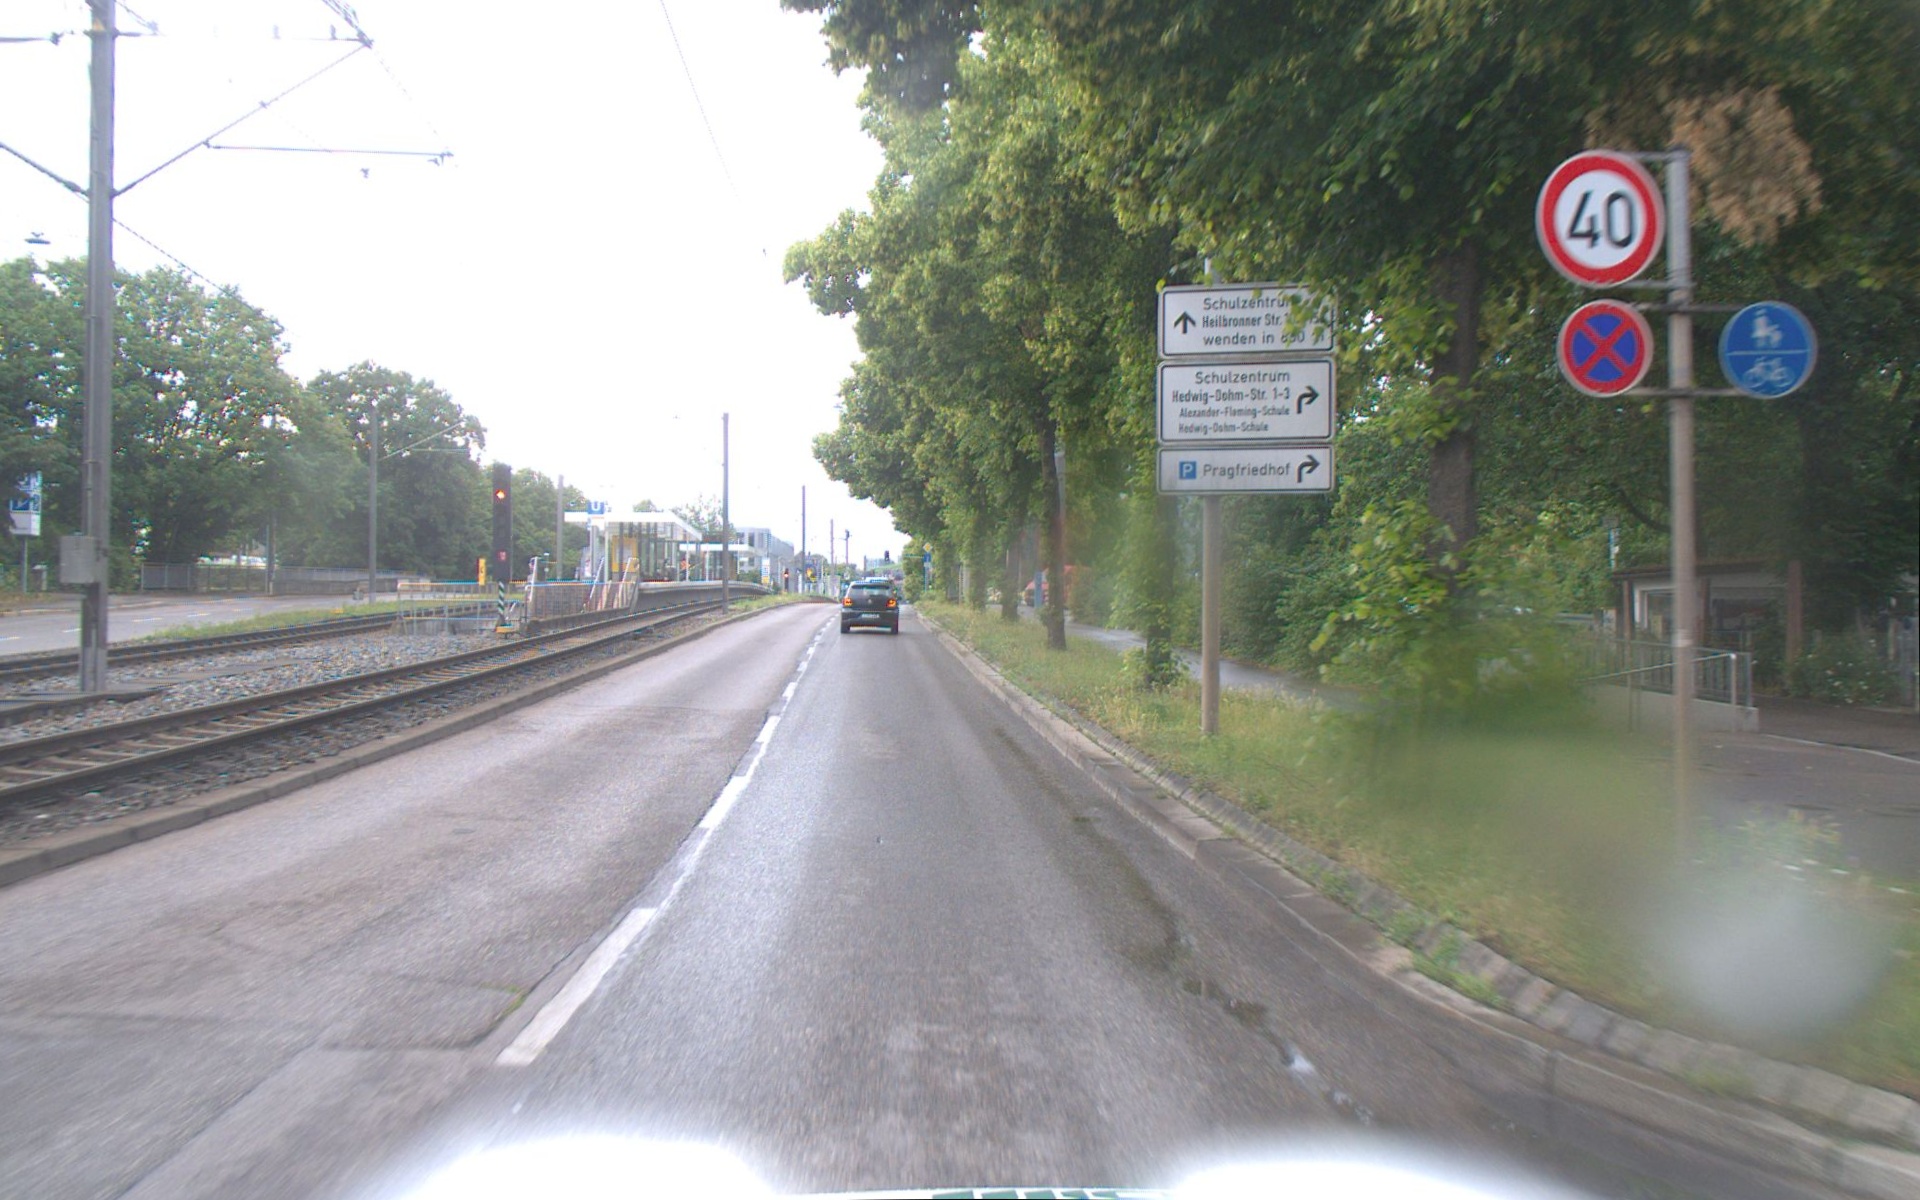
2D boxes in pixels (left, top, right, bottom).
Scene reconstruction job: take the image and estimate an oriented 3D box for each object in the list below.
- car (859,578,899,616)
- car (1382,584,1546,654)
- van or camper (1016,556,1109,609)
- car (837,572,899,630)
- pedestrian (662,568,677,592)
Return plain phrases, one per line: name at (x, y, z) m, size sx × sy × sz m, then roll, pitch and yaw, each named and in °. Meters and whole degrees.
car at (-3.425, -0.152, 70.138) m, size 1.654 × 1.544 × 3.998 m, roll 1°, pitch 1°, yaw -3°
car at (15.495, 0.579, 51.000) m, size 1.930 × 1.866 × 4.398 m, roll 2°, pitch 1°, yaw -43°
van or camper at (5.526, -0.914, 88.523) m, size 2.004 × 2.447 × 5.363 m, roll 5°, pitch 1°, yaw 40°
car at (-2.592, 0.003, 47.329) m, size 1.692 × 1.567 × 3.999 m, roll 1°, pitch 1°, yaw -2°
pedestrian at (-15.650, -1.080, 89.162) m, size 0.696 × 1.247 × 0.619 m, roll 1°, pitch 0°, yaw -3°
